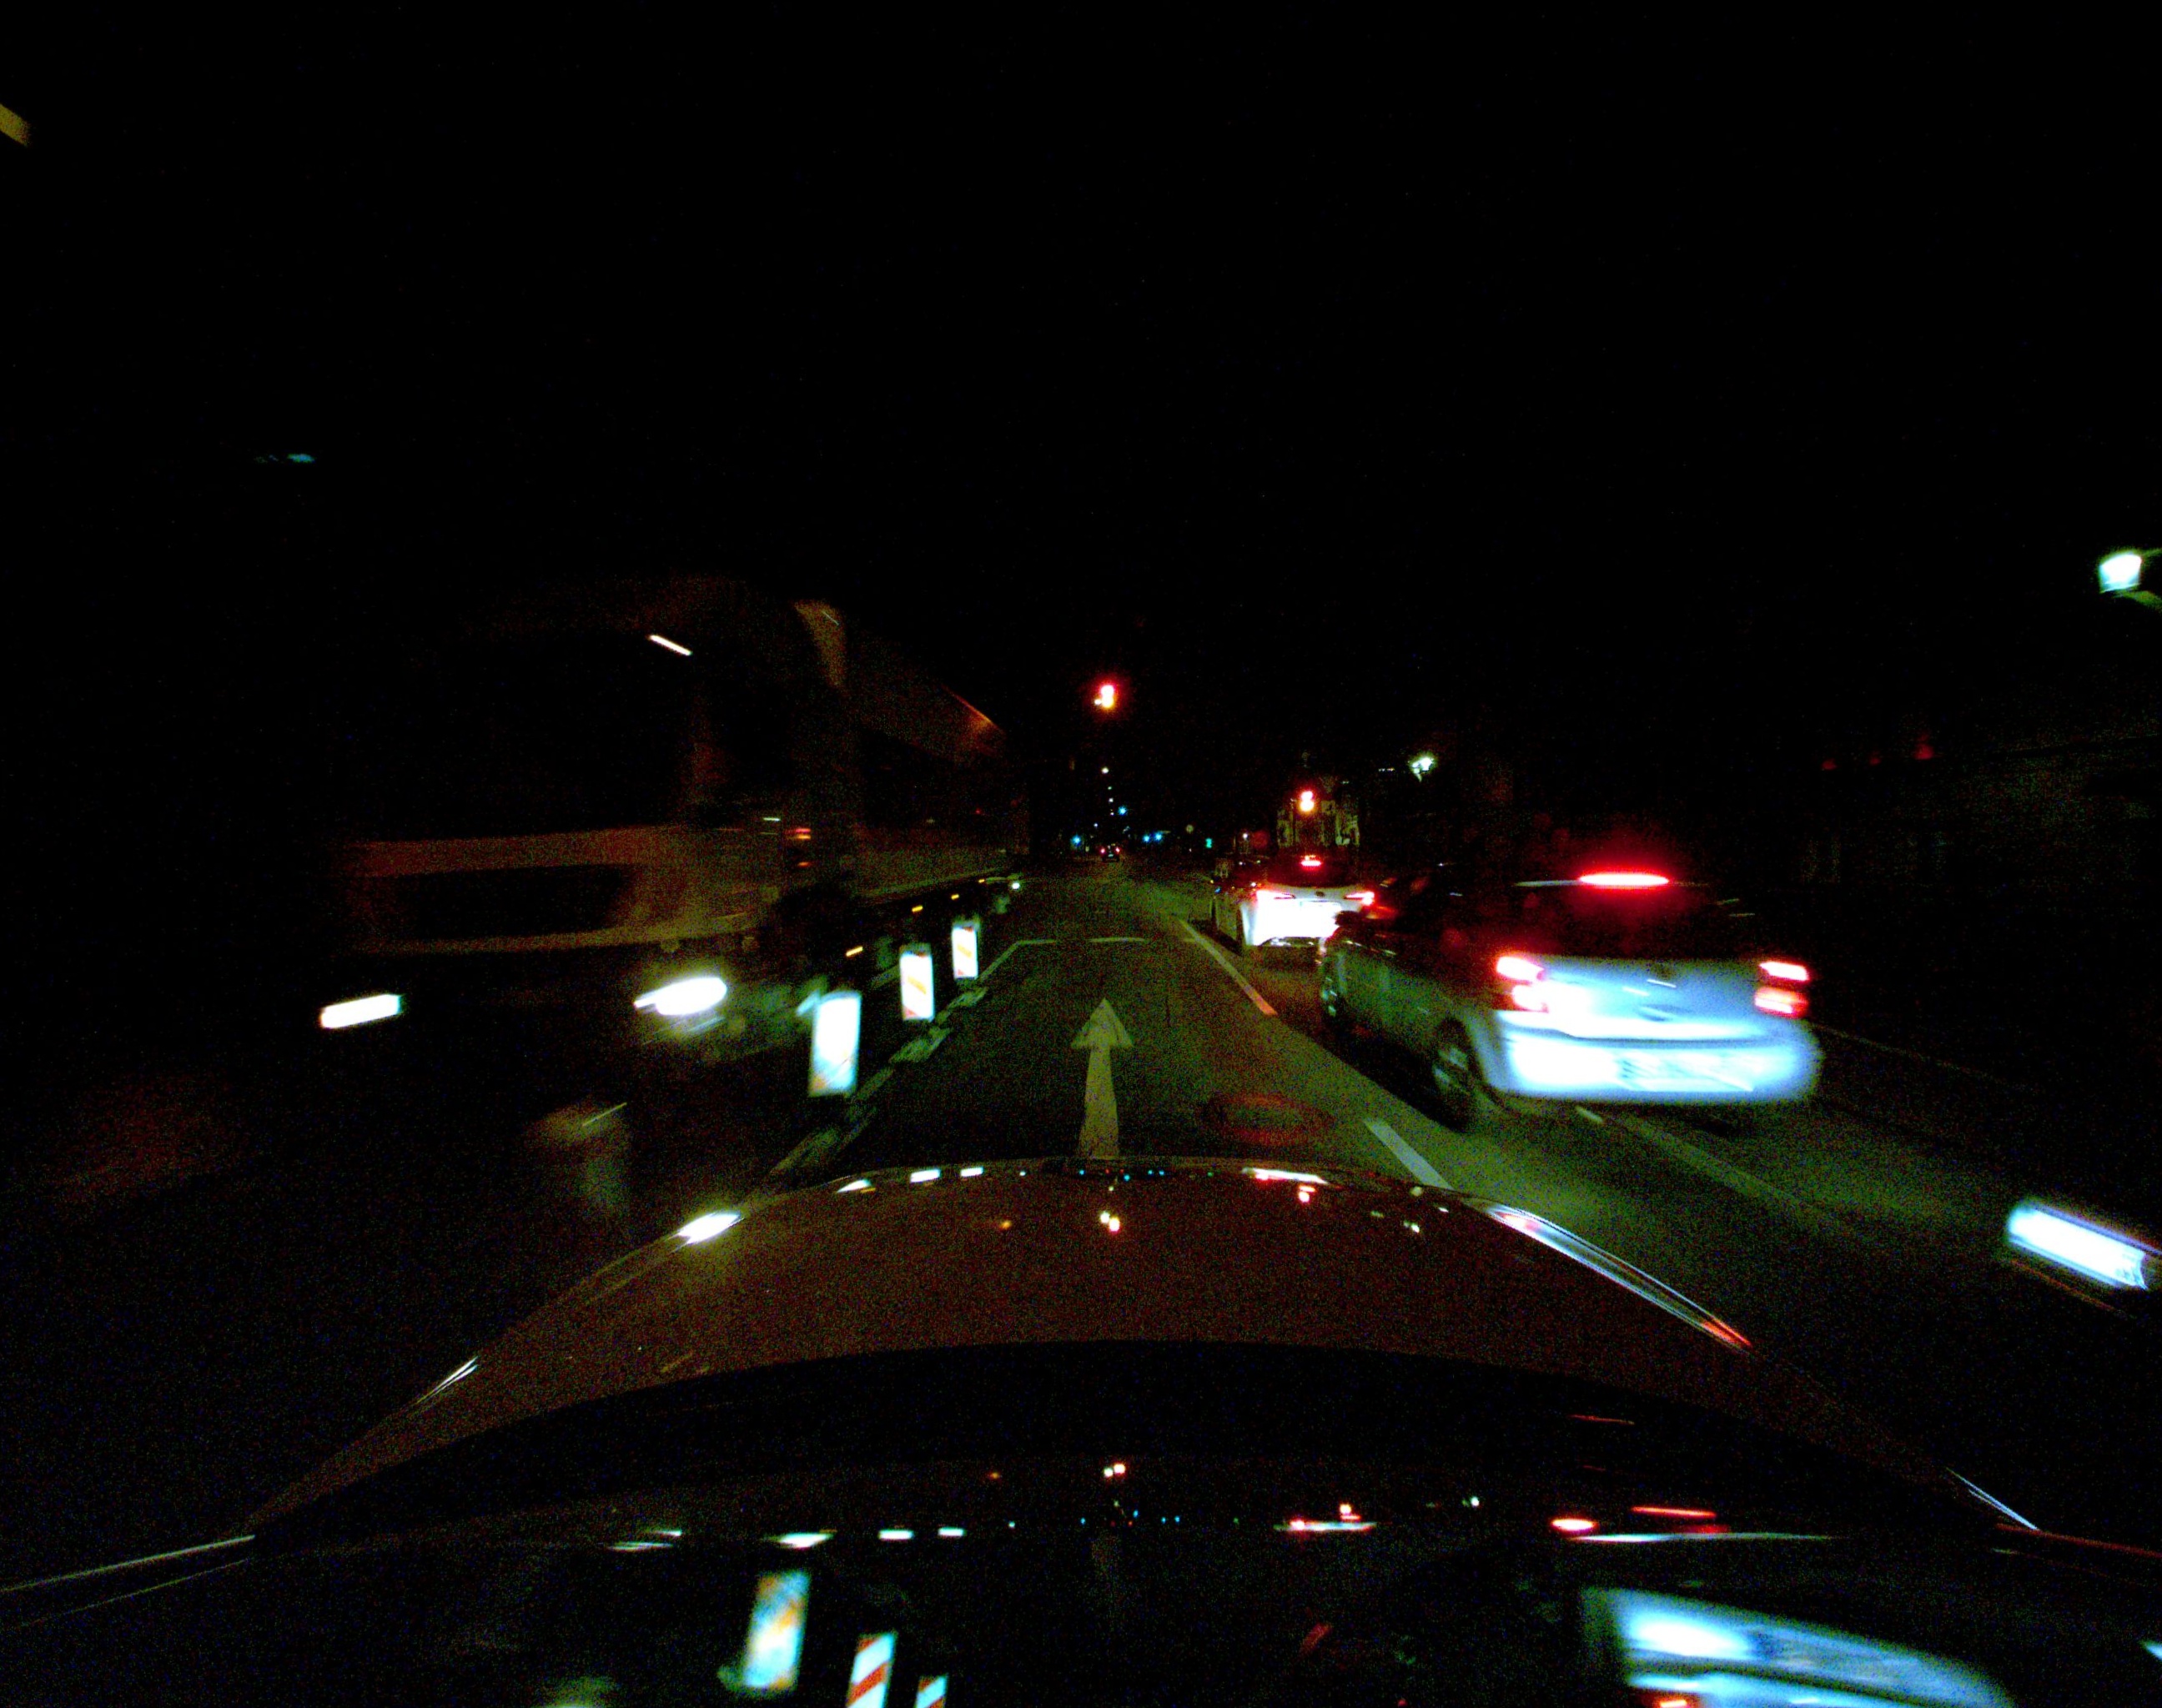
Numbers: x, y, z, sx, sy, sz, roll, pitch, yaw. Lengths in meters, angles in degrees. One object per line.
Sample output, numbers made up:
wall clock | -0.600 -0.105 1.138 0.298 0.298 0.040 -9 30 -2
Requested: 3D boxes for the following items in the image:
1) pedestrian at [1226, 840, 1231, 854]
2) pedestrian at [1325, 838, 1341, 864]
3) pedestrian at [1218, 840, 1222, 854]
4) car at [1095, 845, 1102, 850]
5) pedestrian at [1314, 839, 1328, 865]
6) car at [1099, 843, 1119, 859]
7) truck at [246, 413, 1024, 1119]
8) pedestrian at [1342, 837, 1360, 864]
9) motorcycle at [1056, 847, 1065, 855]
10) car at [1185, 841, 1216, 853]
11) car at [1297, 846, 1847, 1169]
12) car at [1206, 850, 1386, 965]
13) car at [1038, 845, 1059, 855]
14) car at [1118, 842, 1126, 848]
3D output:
pedestrian | 20.699 -0.949 114.402 0.486 2.013 0.551 -2 0 1
pedestrian | 17.023 -0.209 55.037 0.736 1.769 0.907 -2 0 2
pedestrian | 19.515 -0.953 114.385 0.529 2.013 0.670 -2 0 1
car | 4.842 -1.700 221.101 1.772 1.390 4.000 -2 1 0
pedestrian | 16.214 -0.131 55.020 0.711 1.769 0.907 -2 0 2
car | 3.030 -0.312 88.209 1.987 1.640 4.000 -2 0 1
truck | -2.819 -0.487 9.484 2.743 3.717 10.124 -2 0 4
pedestrian | 18.299 -0.230 55.185 0.897 1.769 0.907 -2 0 2
motorcycle | -3.176 -0.478 127.416 0.783 1.204 2.436 -2 1 -16
car | 15.824 -0.939 107.959 3.968 1.386 1.774 -2 1 4
car | 2.833 0.705 5.826 1.631 1.494 4.002 1 0 2
car | 3.068 0.672 12.518 1.723 1.435 4.211 1 0 1
car | -5.237 -0.587 130.194 1.815 1.486 3.962 -2 1 -29
car | 11.900 -2.635 235.524 1.987 1.596 3.999 -2 0 0
